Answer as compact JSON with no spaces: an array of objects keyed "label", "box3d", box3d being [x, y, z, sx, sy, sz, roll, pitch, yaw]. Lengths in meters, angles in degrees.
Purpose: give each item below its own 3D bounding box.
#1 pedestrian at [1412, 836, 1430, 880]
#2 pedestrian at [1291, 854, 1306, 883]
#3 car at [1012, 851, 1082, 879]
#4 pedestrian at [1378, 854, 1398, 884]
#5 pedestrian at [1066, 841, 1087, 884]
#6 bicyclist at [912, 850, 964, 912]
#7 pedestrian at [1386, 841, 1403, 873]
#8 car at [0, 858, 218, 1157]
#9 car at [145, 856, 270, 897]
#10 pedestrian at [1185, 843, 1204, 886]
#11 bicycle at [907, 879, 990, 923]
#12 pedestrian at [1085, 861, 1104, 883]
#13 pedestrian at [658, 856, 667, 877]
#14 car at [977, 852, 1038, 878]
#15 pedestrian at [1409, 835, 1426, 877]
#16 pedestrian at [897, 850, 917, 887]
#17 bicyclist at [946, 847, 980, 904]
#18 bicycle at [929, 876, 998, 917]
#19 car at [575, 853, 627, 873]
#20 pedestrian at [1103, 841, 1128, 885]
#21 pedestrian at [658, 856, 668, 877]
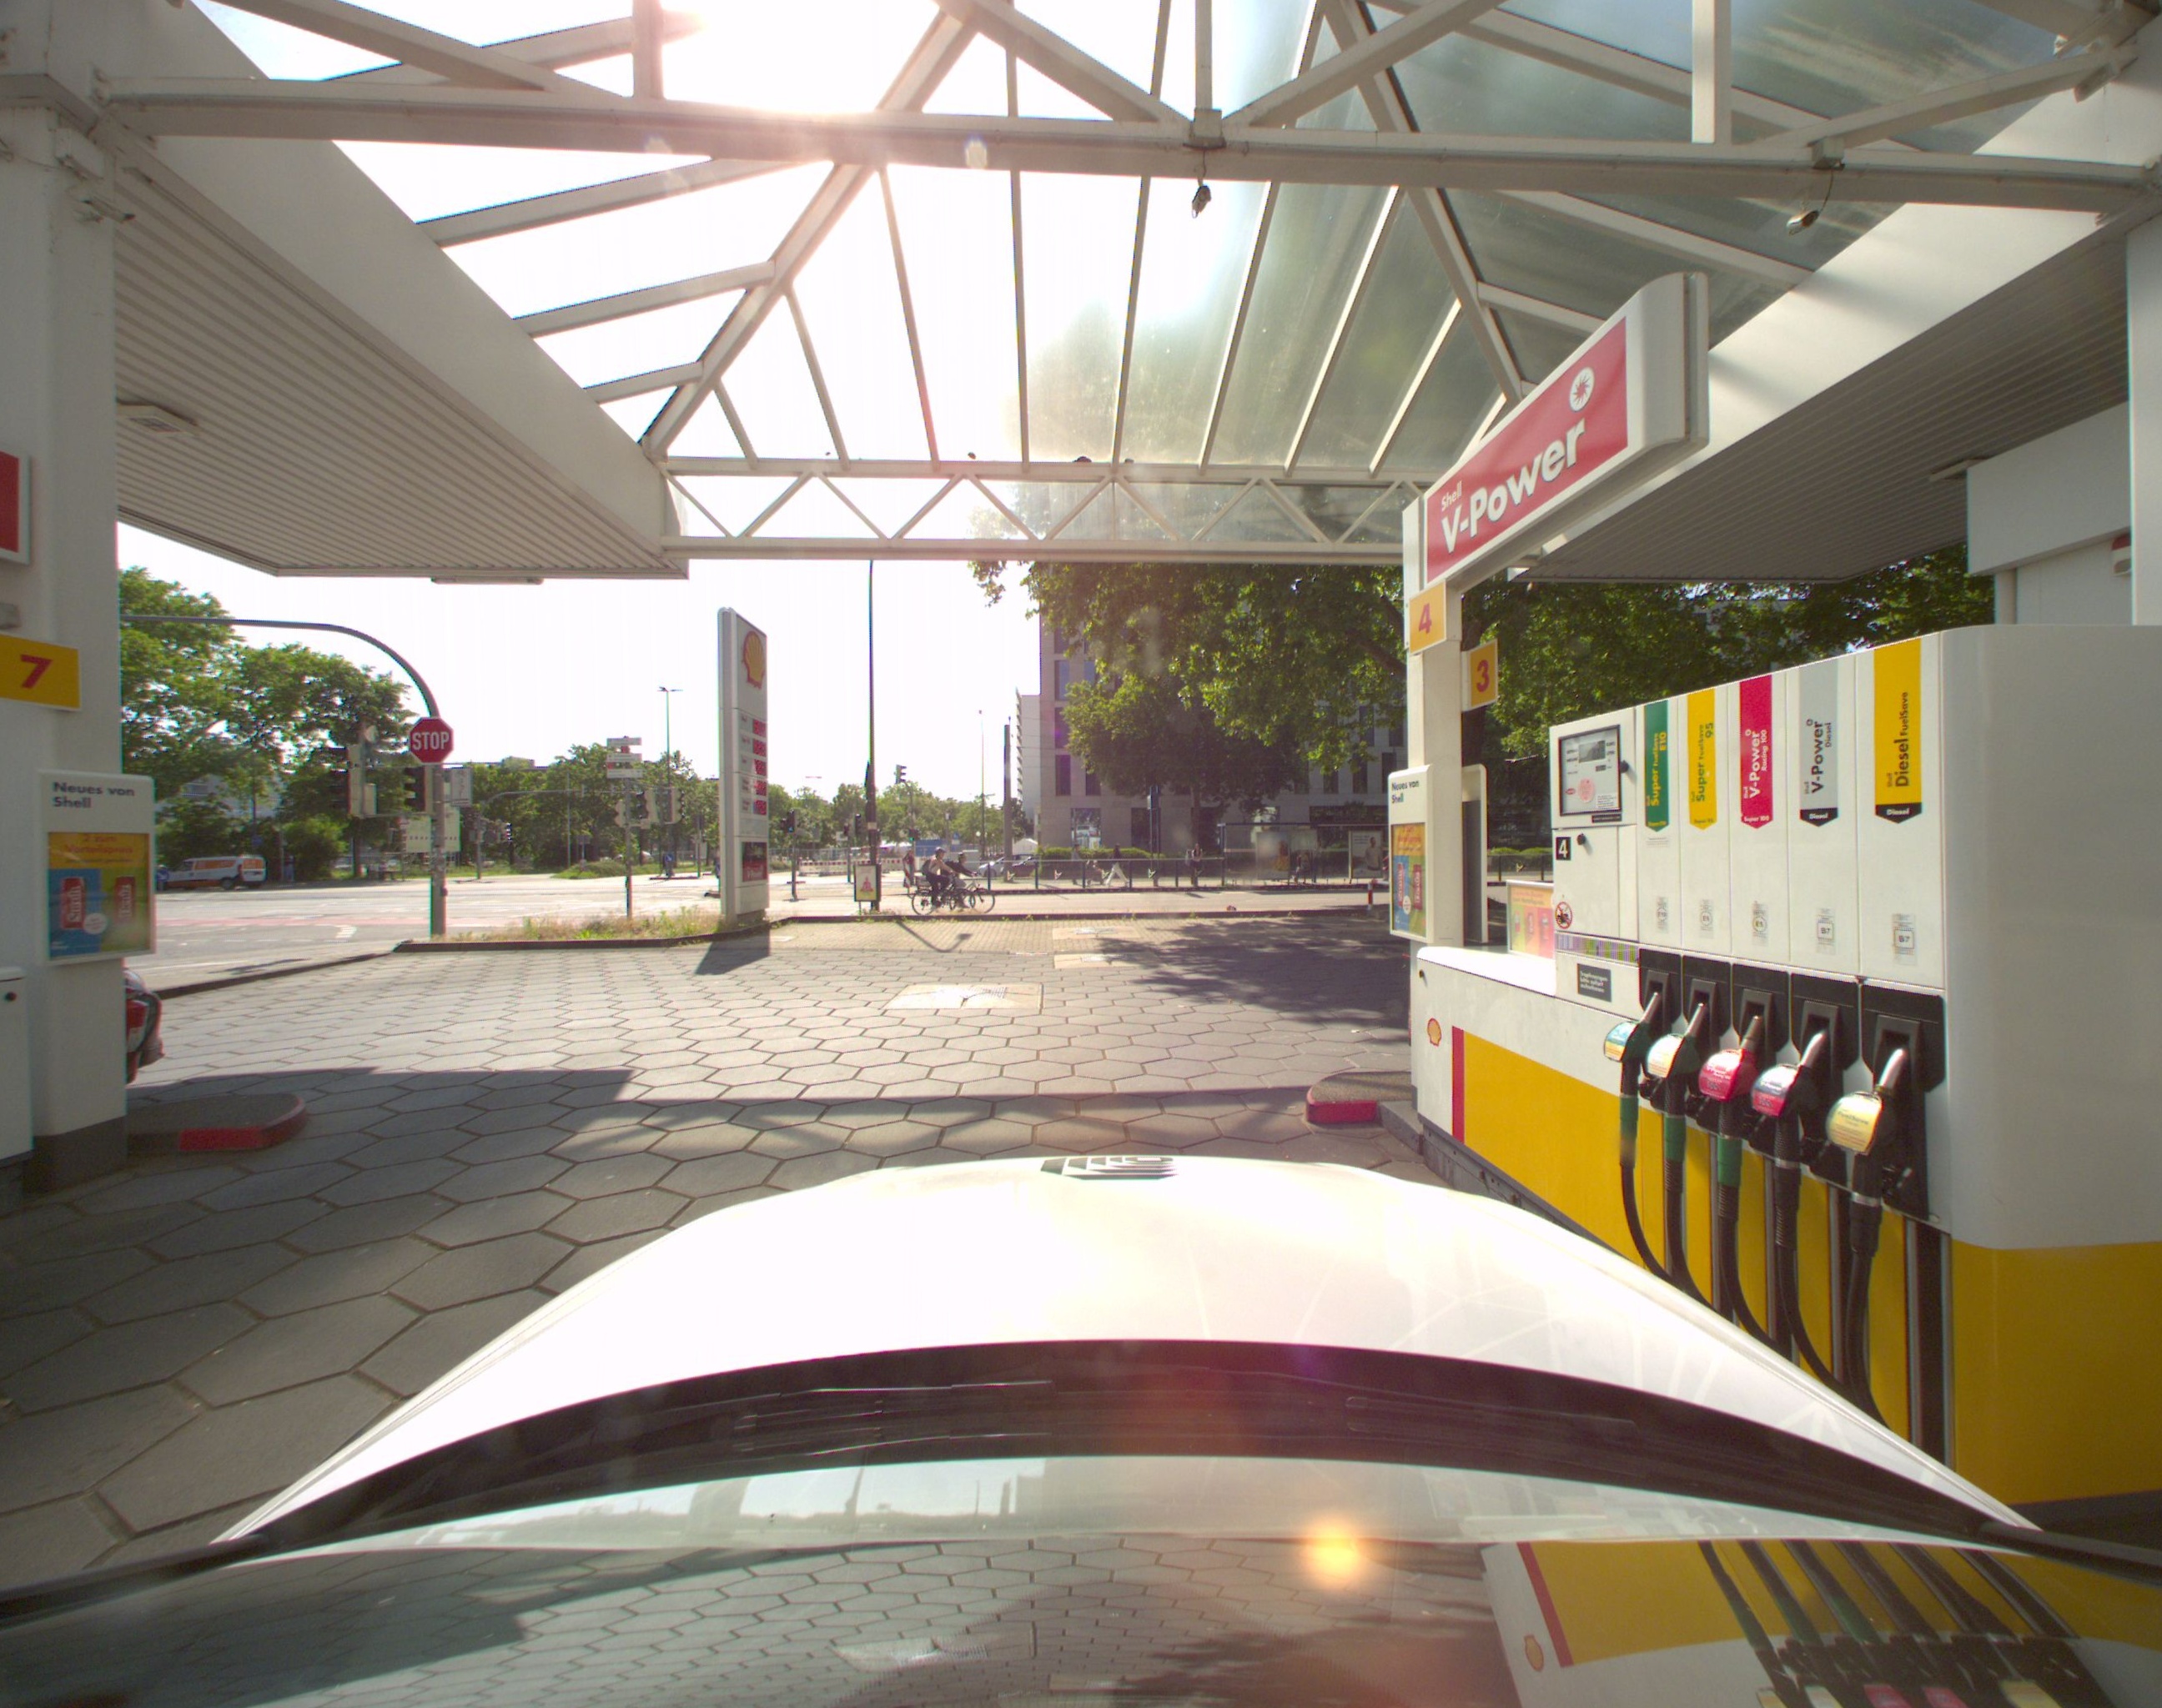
[{"label":"pedestrian","box3d":[13.413,0.150,32.131,0.497,1.735,0.524,-1,0,0]},{"label":"pedestrian","box3d":[8.517,0.567,31.901,0.497,1.138,0.524,-1,0,4]},{"label":"car","box3d":[-2.038,0.604,47.842,3.985,1.552,1.698,-1,0,-8]},{"label":"pedestrian","box3d":[12.124,0.587,32.177,0.625,1.138,0.524,-1,0,3]},{"label":"pedestrian","box3d":[-0.179,0.339,32.690,0.773,1.683,0.504,-1,0,6]},{"label":"bicyclist","box3d":[-3.720,0.689,21.188,1.160,1.580,0.642,-1,0,15]},{"label":"pedestrian","box3d":[12.333,0.122,32.079,0.497,1.220,0.406,-1,0,0]},{"label":"car","box3d":[-6.393,0.813,3.231,1.740,1.532,3.996,-2,0,-3]},{"label":"car","box3d":[-48.456,1.204,45.251,4.427,2.013,1.996,-3,0,-6]},{"label":"pedestrian","box3d":[4.379,0.395,31.471,0.582,1.591,0.669,-1,2,-3]},{"label":"bicycle","box3d":[-3.436,1.201,21.127,2.004,1.082,0.642,-1,0,15]},{"label":"pedestrian","box3d":[0.546,0.721,32.617,0.687,0.880,0.504,-1,0,6]},{"label":"pedestrian","box3d":[-29.820,0.872,58.051,0.566,1.469,0.509,-1,0,-27]},{"label":"car","box3d":[-4.613,0.671,50.797,3.680,1.552,1.587,-1,0,-8]},{"label":"pedestrian","box3d":[13.913,0.073,33.675,0.497,1.735,0.524,-1,0,0]},{"label":"pedestrian","box3d":[-7.343,0.604,34.354,0.647,1.540,0.504,-1,0,6]},{"label":"bicyclist","box3d":[-3.270,0.585,22.576,0.860,1.544,0.534,0,0,-2]},{"label":"bicycle","box3d":[-3.245,1.173,22.586,1.857,1.082,0.524,-1,0,-4]},{"label":"car","box3d":[-48.716,0.941,82.738,3.972,1.816,2.001,-3,0,1]},{"label":"pedestrian","box3d":[1.350,0.355,31.809,0.927,1.683,0.504,-1,0,6]},{"label":"pedestrian","box3d":[-29.280,0.887,57.067,0.566,1.469,0.509,-1,0,-27]}]
